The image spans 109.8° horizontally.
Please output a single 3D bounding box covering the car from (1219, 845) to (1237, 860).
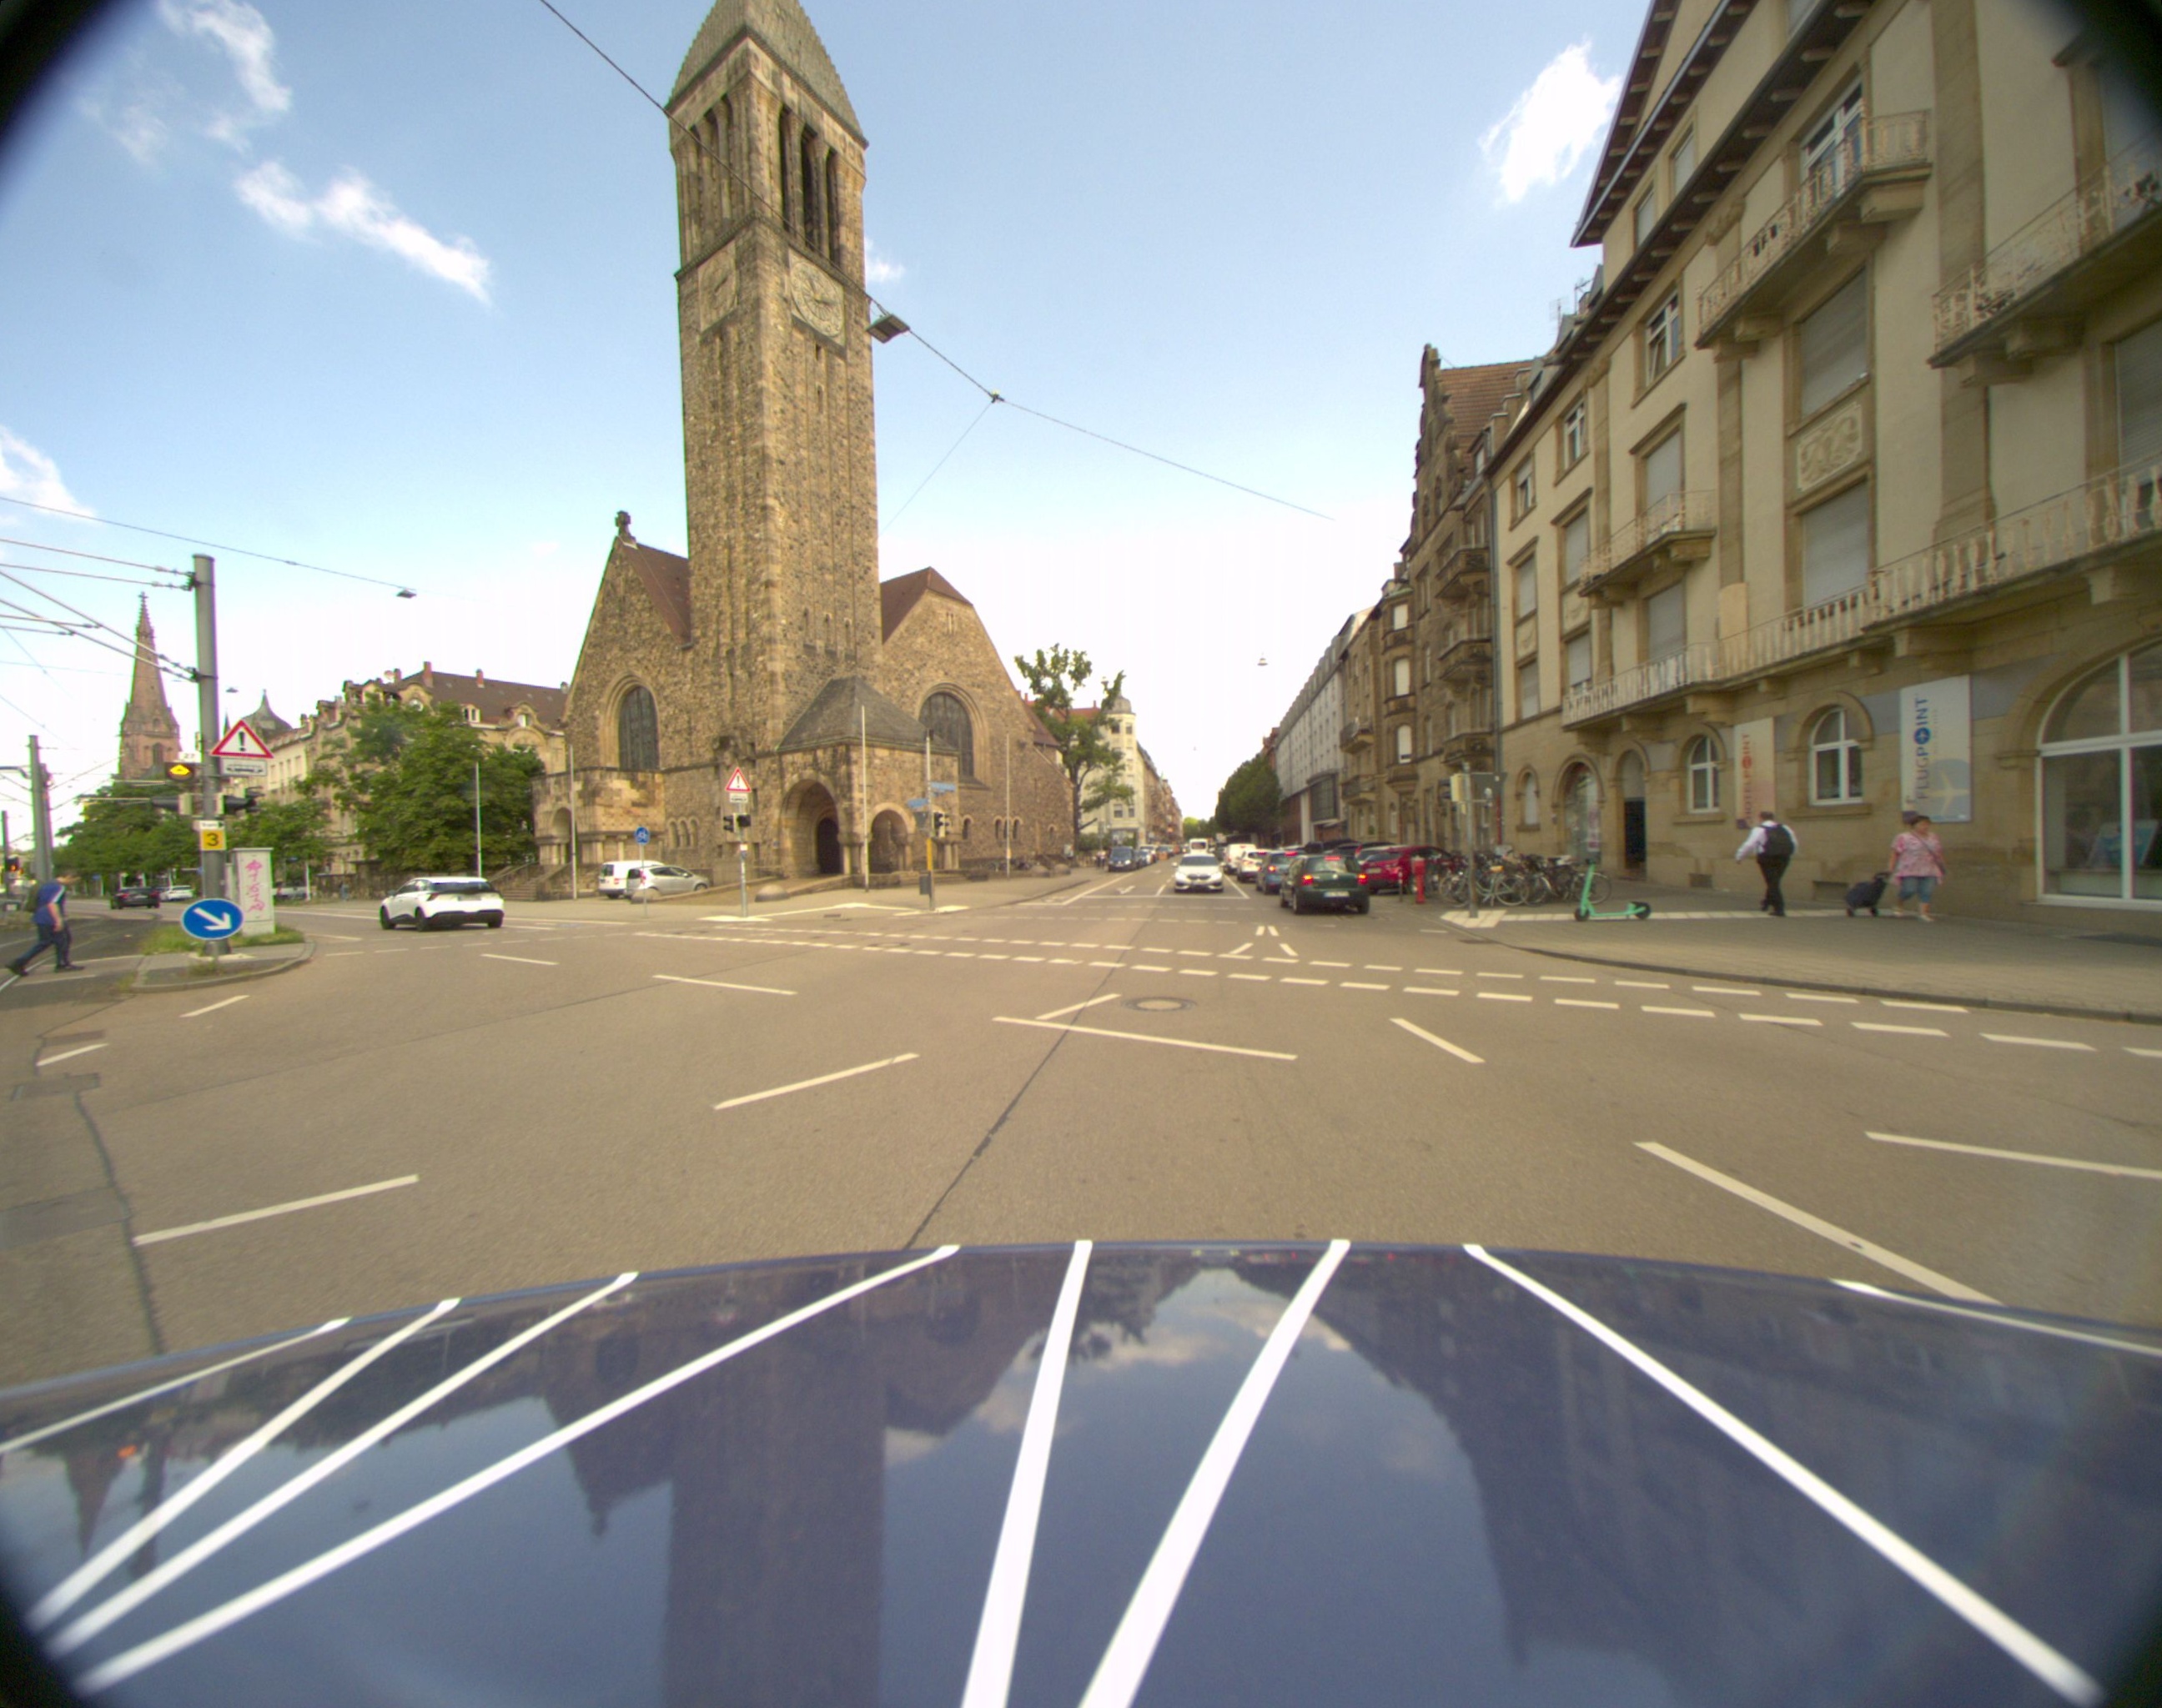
[{"bbox_3d":[16.295,-0.186,84.552,1.890,1.641,3.893,-1,0,10],"label":"car"}]

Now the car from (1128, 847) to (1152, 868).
[{"bbox_3d":[5.184,0.272,66.260,1.681,1.780,4.003,-1,0,10],"label":"car"}]

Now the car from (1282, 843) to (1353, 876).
[{"bbox_3d":[14.172,0.324,45.515,3.959,1.576,1.728,-5,1,-30],"label":"car"}]

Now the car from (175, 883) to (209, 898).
[{"bbox_3d":[-81.840,3.328,69.973,3.055,1.226,1.659,-2,1,34],"label":"car"}]

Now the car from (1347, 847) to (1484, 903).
[{"bbox_3d":[10.626,0.636,24.107,4.005,1.448,1.808,-4,0,-28],"label":"car"}]

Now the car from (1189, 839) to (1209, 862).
[{"bbox_3d":[12.922,-0.346,83.334,2.080,2.430,5.949,0,0,8],"label":"car"}]

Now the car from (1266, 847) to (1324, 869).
[{"bbox_3d":[15.409,0.254,54.727,3.960,1.465,1.727,-2,1,-30],"label":"car"}]

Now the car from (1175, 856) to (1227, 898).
[{"bbox_3d":[4.686,0.835,29.428,1.825,1.440,4.389,0,1,10],"label":"car"}]

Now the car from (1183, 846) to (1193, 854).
[{"bbox_3d":[23.100,-0.885,163.911,1.808,1.654,4.189,-1,0,10],"label":"car"}]

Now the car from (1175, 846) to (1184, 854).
[{"bbox_3d":[23.133,-0.918,178.654,1.808,1.756,4.189,-1,0,10],"label":"car"}]

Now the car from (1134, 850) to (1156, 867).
[{"bbox_3d":[6.009,0.405,71.167,1.681,1.438,3.800,-1,0,10],"label":"car"}]

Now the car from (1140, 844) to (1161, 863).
[{"bbox_3d":[7.414,-0.058,80.860,1.843,1.927,4.189,-1,0,10],"label":"car"}]

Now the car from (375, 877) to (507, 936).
[{"bbox_3d":[-18.297,1.440,21.682,4.119,1.497,1.824,-1,-1,34],"label":"car"}]

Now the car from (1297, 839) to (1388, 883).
[{"bbox_3d":[12.703,0.334,36.904,3.959,1.857,1.728,-4,1,-24],"label":"car"}]

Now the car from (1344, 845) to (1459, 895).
[{"bbox_3d":[11.534,0.573,27.274,3.960,1.448,1.728,-4,-1,-32],"label":"car"}]

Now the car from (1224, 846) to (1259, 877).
[{"bbox_3d":[9.530,0.431,45.377,1.815,1.765,4.286,0,0,9],"label":"car"}]

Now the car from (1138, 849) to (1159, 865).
[{"bbox_3d":[6.793,0.295,76.300,1.681,1.488,3.893,-1,0,10],"label":"car"}]

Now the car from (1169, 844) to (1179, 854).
[{"bbox_3d":[18.938,-0.990,154.878,1.808,1.901,4.189,-1,0,10],"label":"car"}]

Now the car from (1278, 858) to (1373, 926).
[{"bbox_3d":[6.038,0.877,19.137,1.716,1.425,3.820,-1,1,9],"label":"car"}]

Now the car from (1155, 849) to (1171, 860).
[{"bbox_3d":[10.684,0.070,98.847,1.808,1.360,4.189,-1,0,10],"label":"car"}]

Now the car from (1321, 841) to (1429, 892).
[{"bbox_3d":[11.640,0.497,30.059,3.960,1.679,1.799,-4,-1,-30],"label":"car"}]

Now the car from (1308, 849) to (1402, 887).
[{"bbox_3d":[12.381,0.634,34.263,3.959,1.420,1.728,-4,-1,-29],"label":"car"}]

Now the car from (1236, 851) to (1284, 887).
[{"bbox_3d":[8.344,0.669,35.734,1.774,1.573,4.022,0,1,7],"label":"car"}]

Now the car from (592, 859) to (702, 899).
[{"bbox_3d":[-21.575,1.236,37.914,1.995,1.842,4.314,-3,-1,33],"label":"car"}]

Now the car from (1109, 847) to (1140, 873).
[{"bbox_3d":[3.193,0.421,55.057,1.681,1.780,4.148,-1,0,10],"label":"car"}]

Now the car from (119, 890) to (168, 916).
[{"bbox_3d":[-63.882,3.302,51.777,4.374,1.525,1.789,-1,0,35],"label":"car"}]

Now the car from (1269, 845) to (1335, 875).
[{"bbox_3d":[14.240,0.351,48.856,3.959,1.576,1.728,-5,0,-30],"label":"car"}]

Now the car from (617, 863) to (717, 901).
[{"bbox_3d":[-19.245,1.273,35.454,1.814,1.668,3.645,-3,-2,31],"label":"car"}]

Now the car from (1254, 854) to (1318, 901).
[{"bbox_3d":[7.304,0.784,27.389,1.750,1.531,3.934,-1,1,8],"label":"car"}]

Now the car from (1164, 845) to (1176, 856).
[{"bbox_3d":[14.783,-0.591,126.137,1.808,1.756,4.189,-1,0,10],"label":"car"}]

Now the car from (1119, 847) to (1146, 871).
[{"bbox_3d":[4.094,0.367,60.141,1.681,1.780,4.003,-1,0,10],"label":"car"}]
